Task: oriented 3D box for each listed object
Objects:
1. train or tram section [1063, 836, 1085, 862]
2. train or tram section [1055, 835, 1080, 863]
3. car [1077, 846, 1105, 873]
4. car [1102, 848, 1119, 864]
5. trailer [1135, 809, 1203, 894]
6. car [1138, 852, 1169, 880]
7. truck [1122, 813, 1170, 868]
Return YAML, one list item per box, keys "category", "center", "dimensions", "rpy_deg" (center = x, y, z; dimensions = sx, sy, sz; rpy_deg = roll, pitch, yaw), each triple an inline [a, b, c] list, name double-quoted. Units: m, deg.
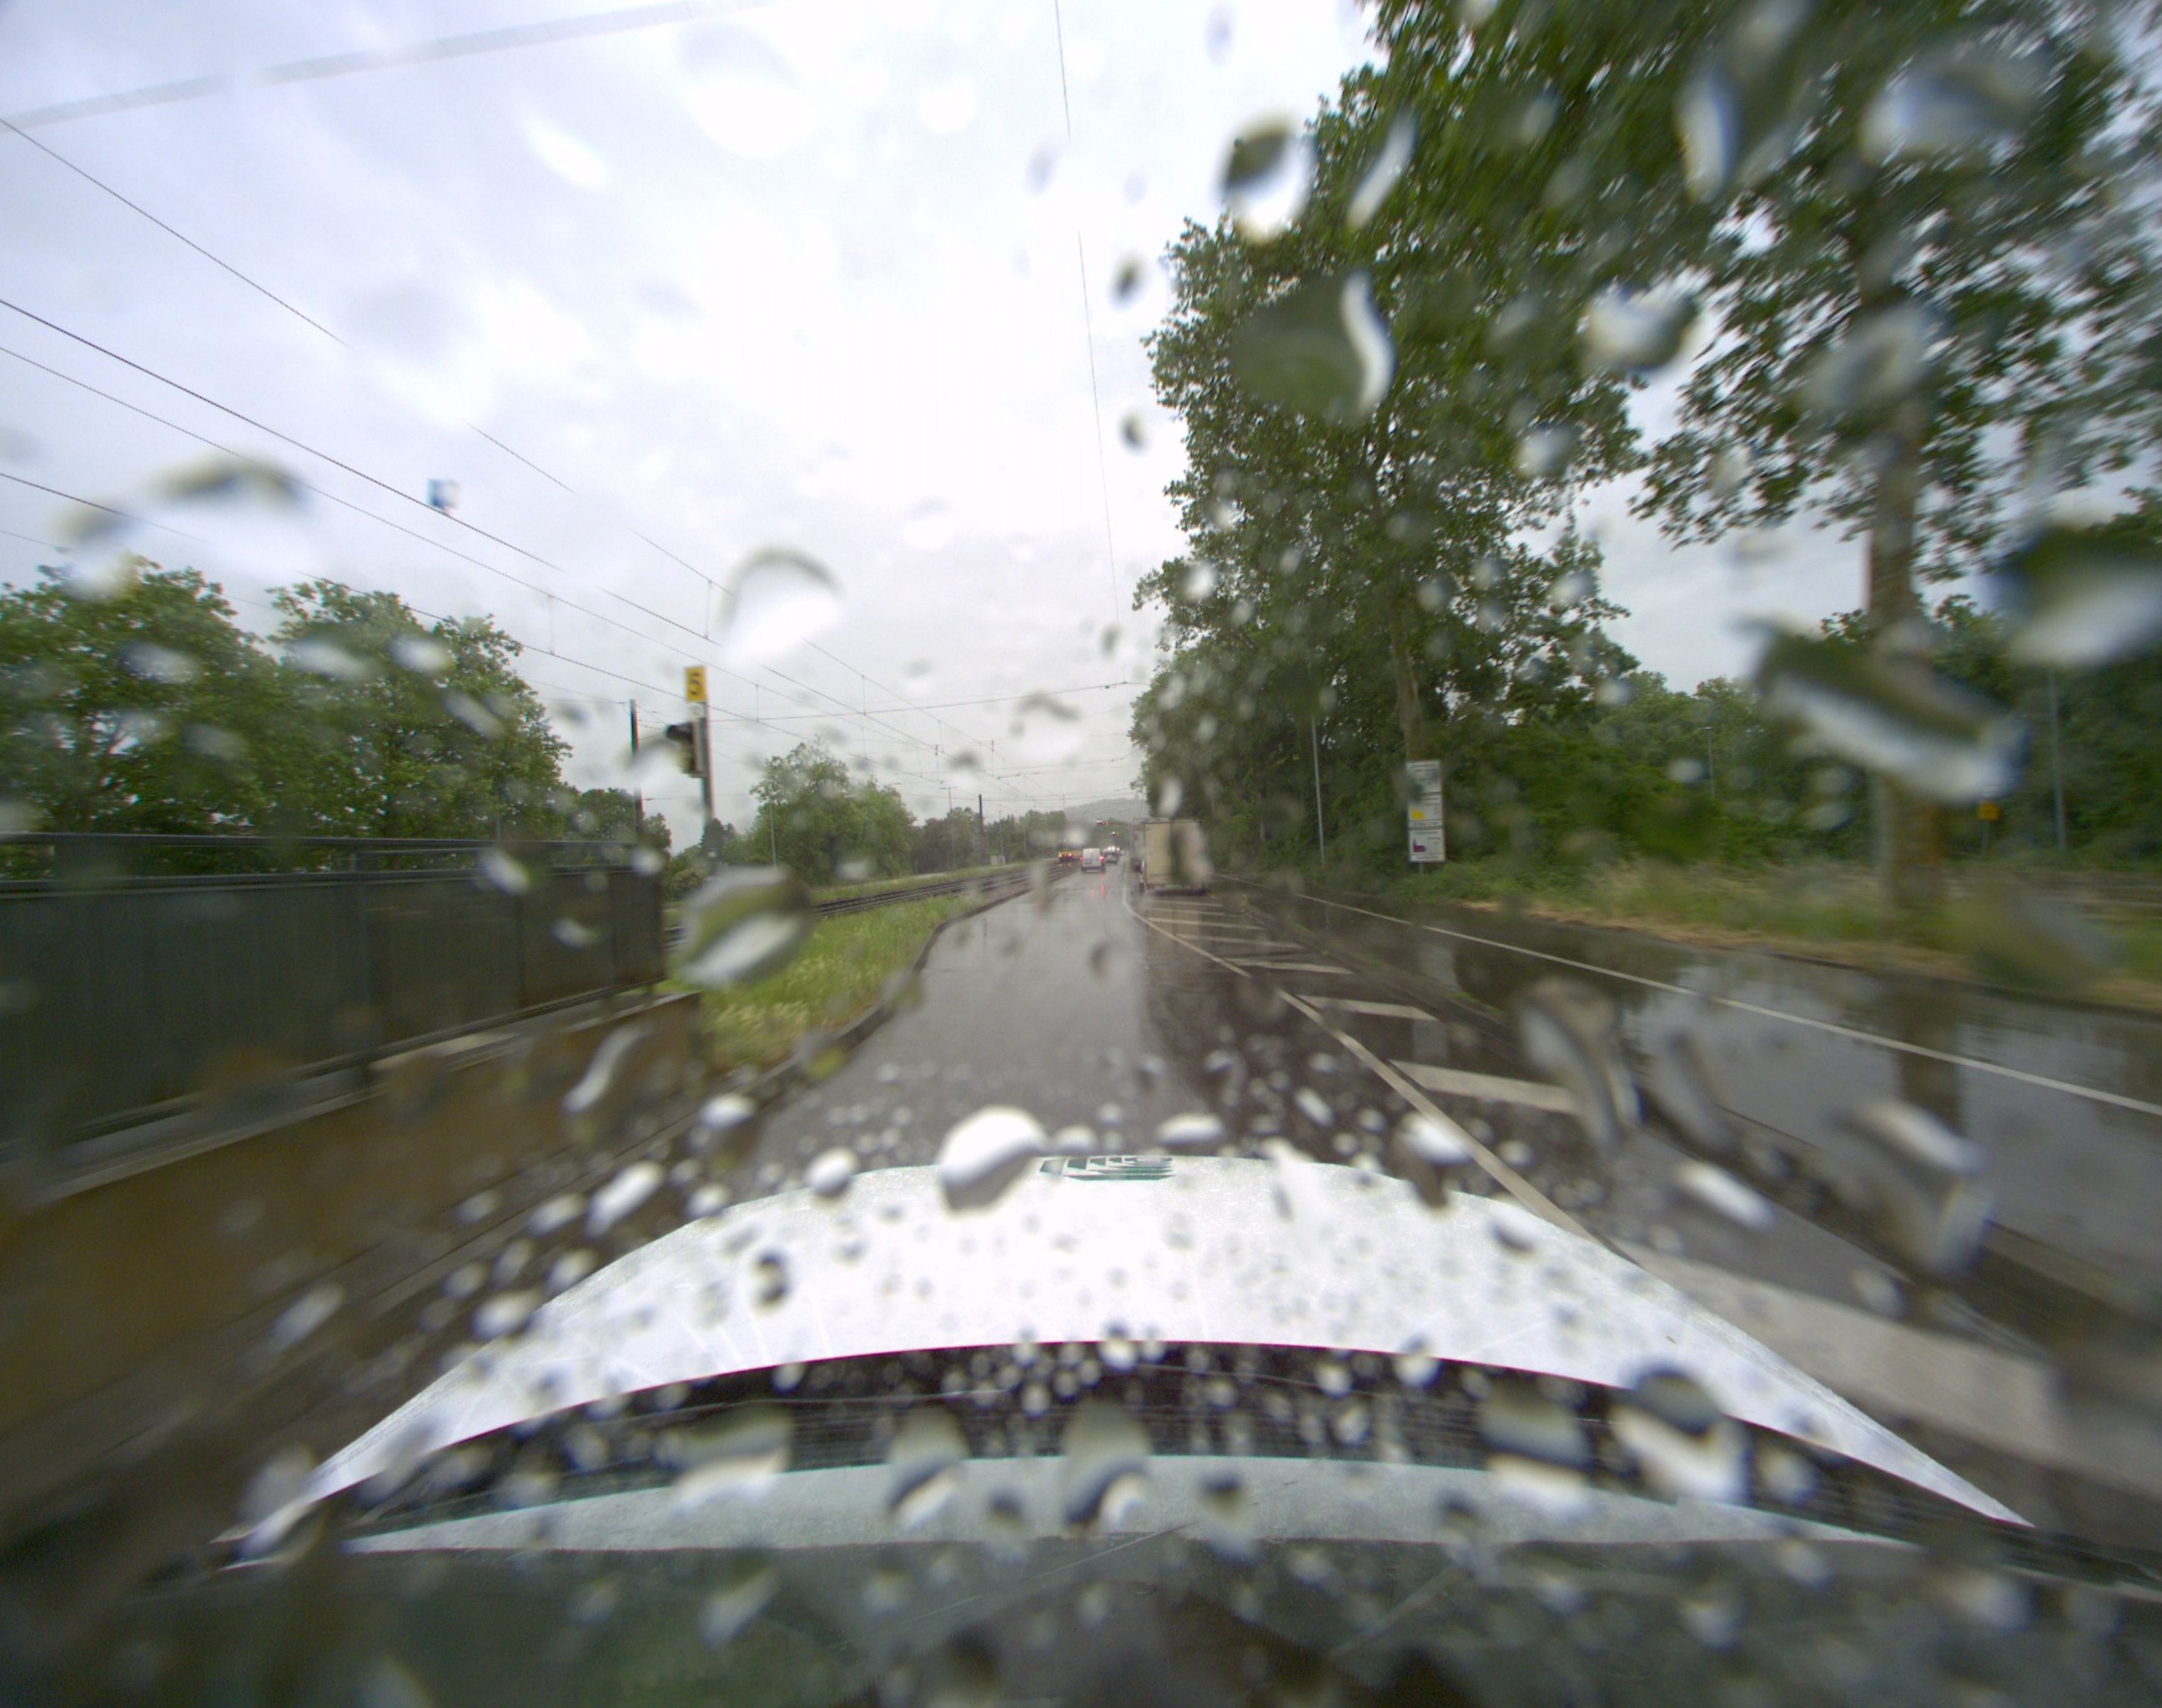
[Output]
- category: "train or tram section"
  center: [-1.188, -0.843, 143.704]
  dimensions: [2.794, 4.149, 13.031]
  rpy_deg: [-2, 0, 3]
- category: "train or tram section"
  center: [-2.078, -0.831, 130.057]
  dimensions: [2.794, 4.149, 13.032]
  rpy_deg: [-2, 0, 4]
- category: "car"
  center: [0.757, 0.413, 62.141]
  dimensions: [1.987, 1.849, 3.999]
  rpy_deg: [-3, 0, -1]
- category: "car"
  center: [3.369, 0.266, 91.607]
  dimensions: [1.779, 1.642, 3.971]
  rpy_deg: [-2, -1, 3]
- category: "trailer"
  center: [3.235, -0.060, 30.115]
  dimensions: [2.155, 2.757, 5.685]
  rpy_deg: [-2, -1, 6]
- category: "car"
  center: [4.278, 0.683, 47.952]
  dimensions: [1.705, 1.529, 4.006]
  rpy_deg: [-3, 0, 6]
- category: "truck"
  center: [4.728, -0.890, 61.214]
  dimensions: [2.766, 3.704, 9.851]
  rpy_deg: [-2, -1, 0]
